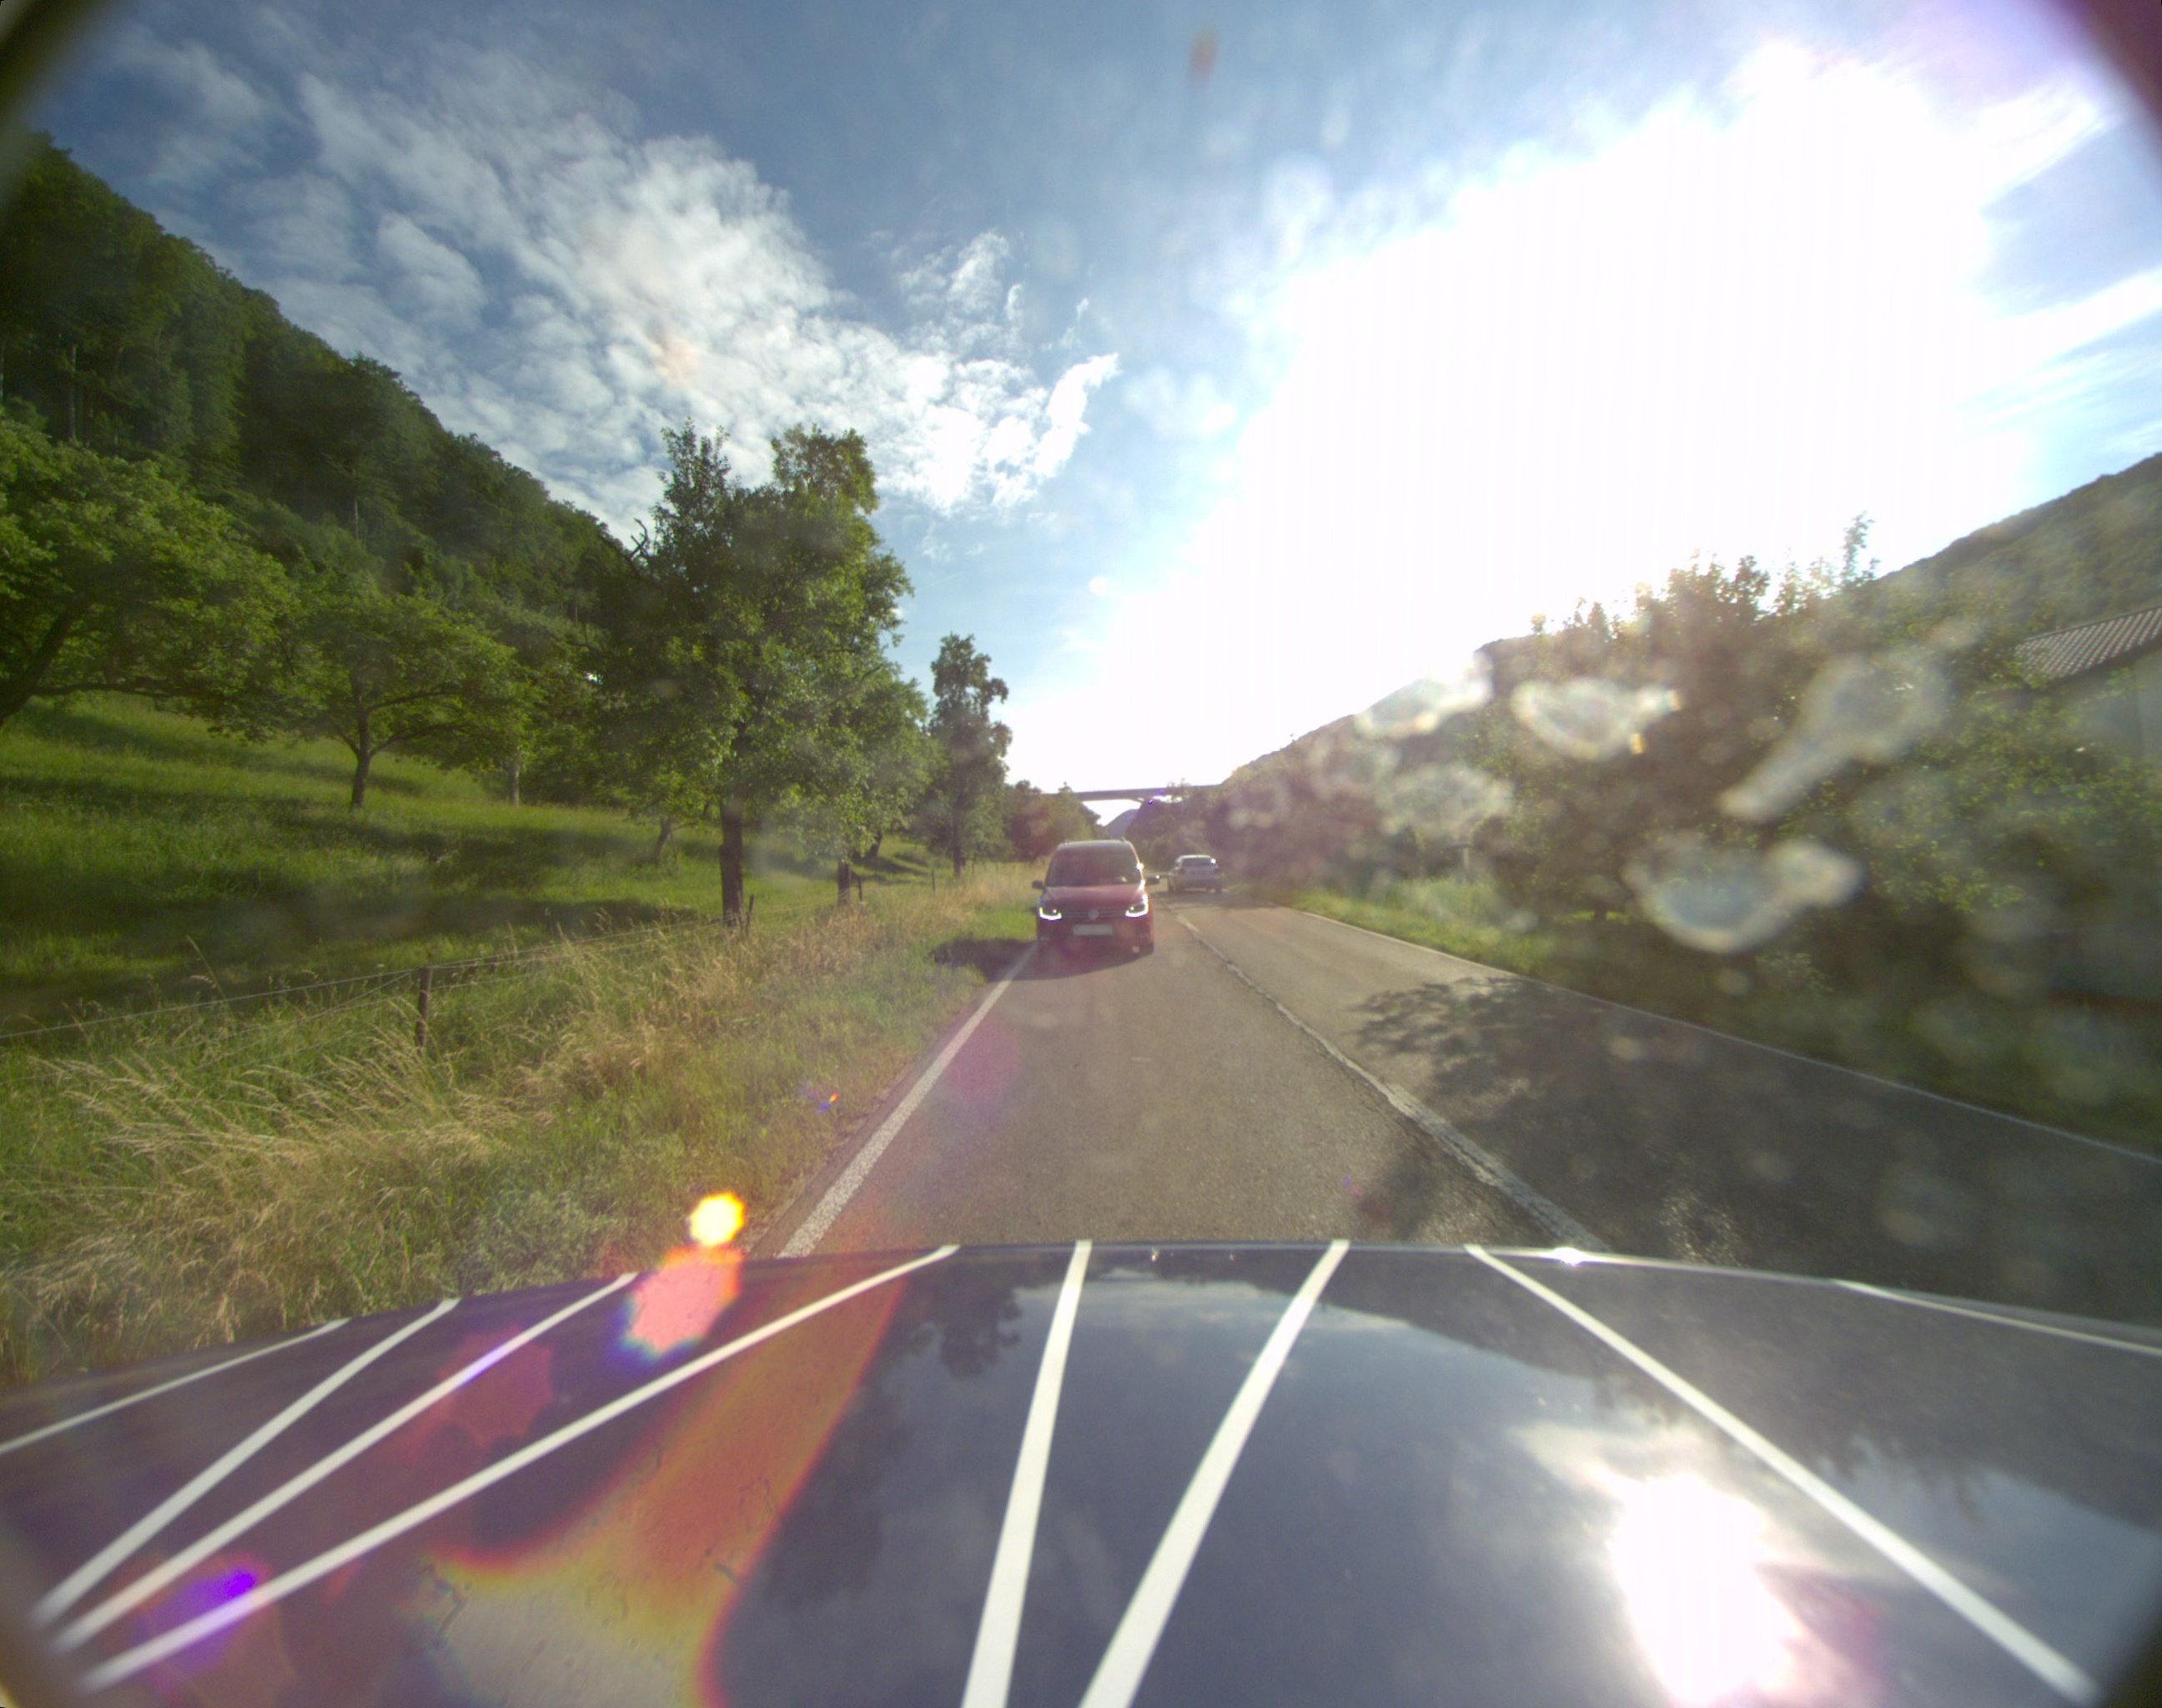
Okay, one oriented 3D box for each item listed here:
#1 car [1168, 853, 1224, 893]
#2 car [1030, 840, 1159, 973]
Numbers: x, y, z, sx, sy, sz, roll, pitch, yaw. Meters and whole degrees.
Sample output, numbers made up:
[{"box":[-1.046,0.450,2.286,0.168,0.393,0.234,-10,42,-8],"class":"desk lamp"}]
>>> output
[{"box":[4.342,0.683,29.134,1.696,1.401,3.663,-1,1,2],"class":"car"},{"box":[0.201,0.735,12.564,1.741,1.803,4.000,-2,0,0],"class":"car"}]
